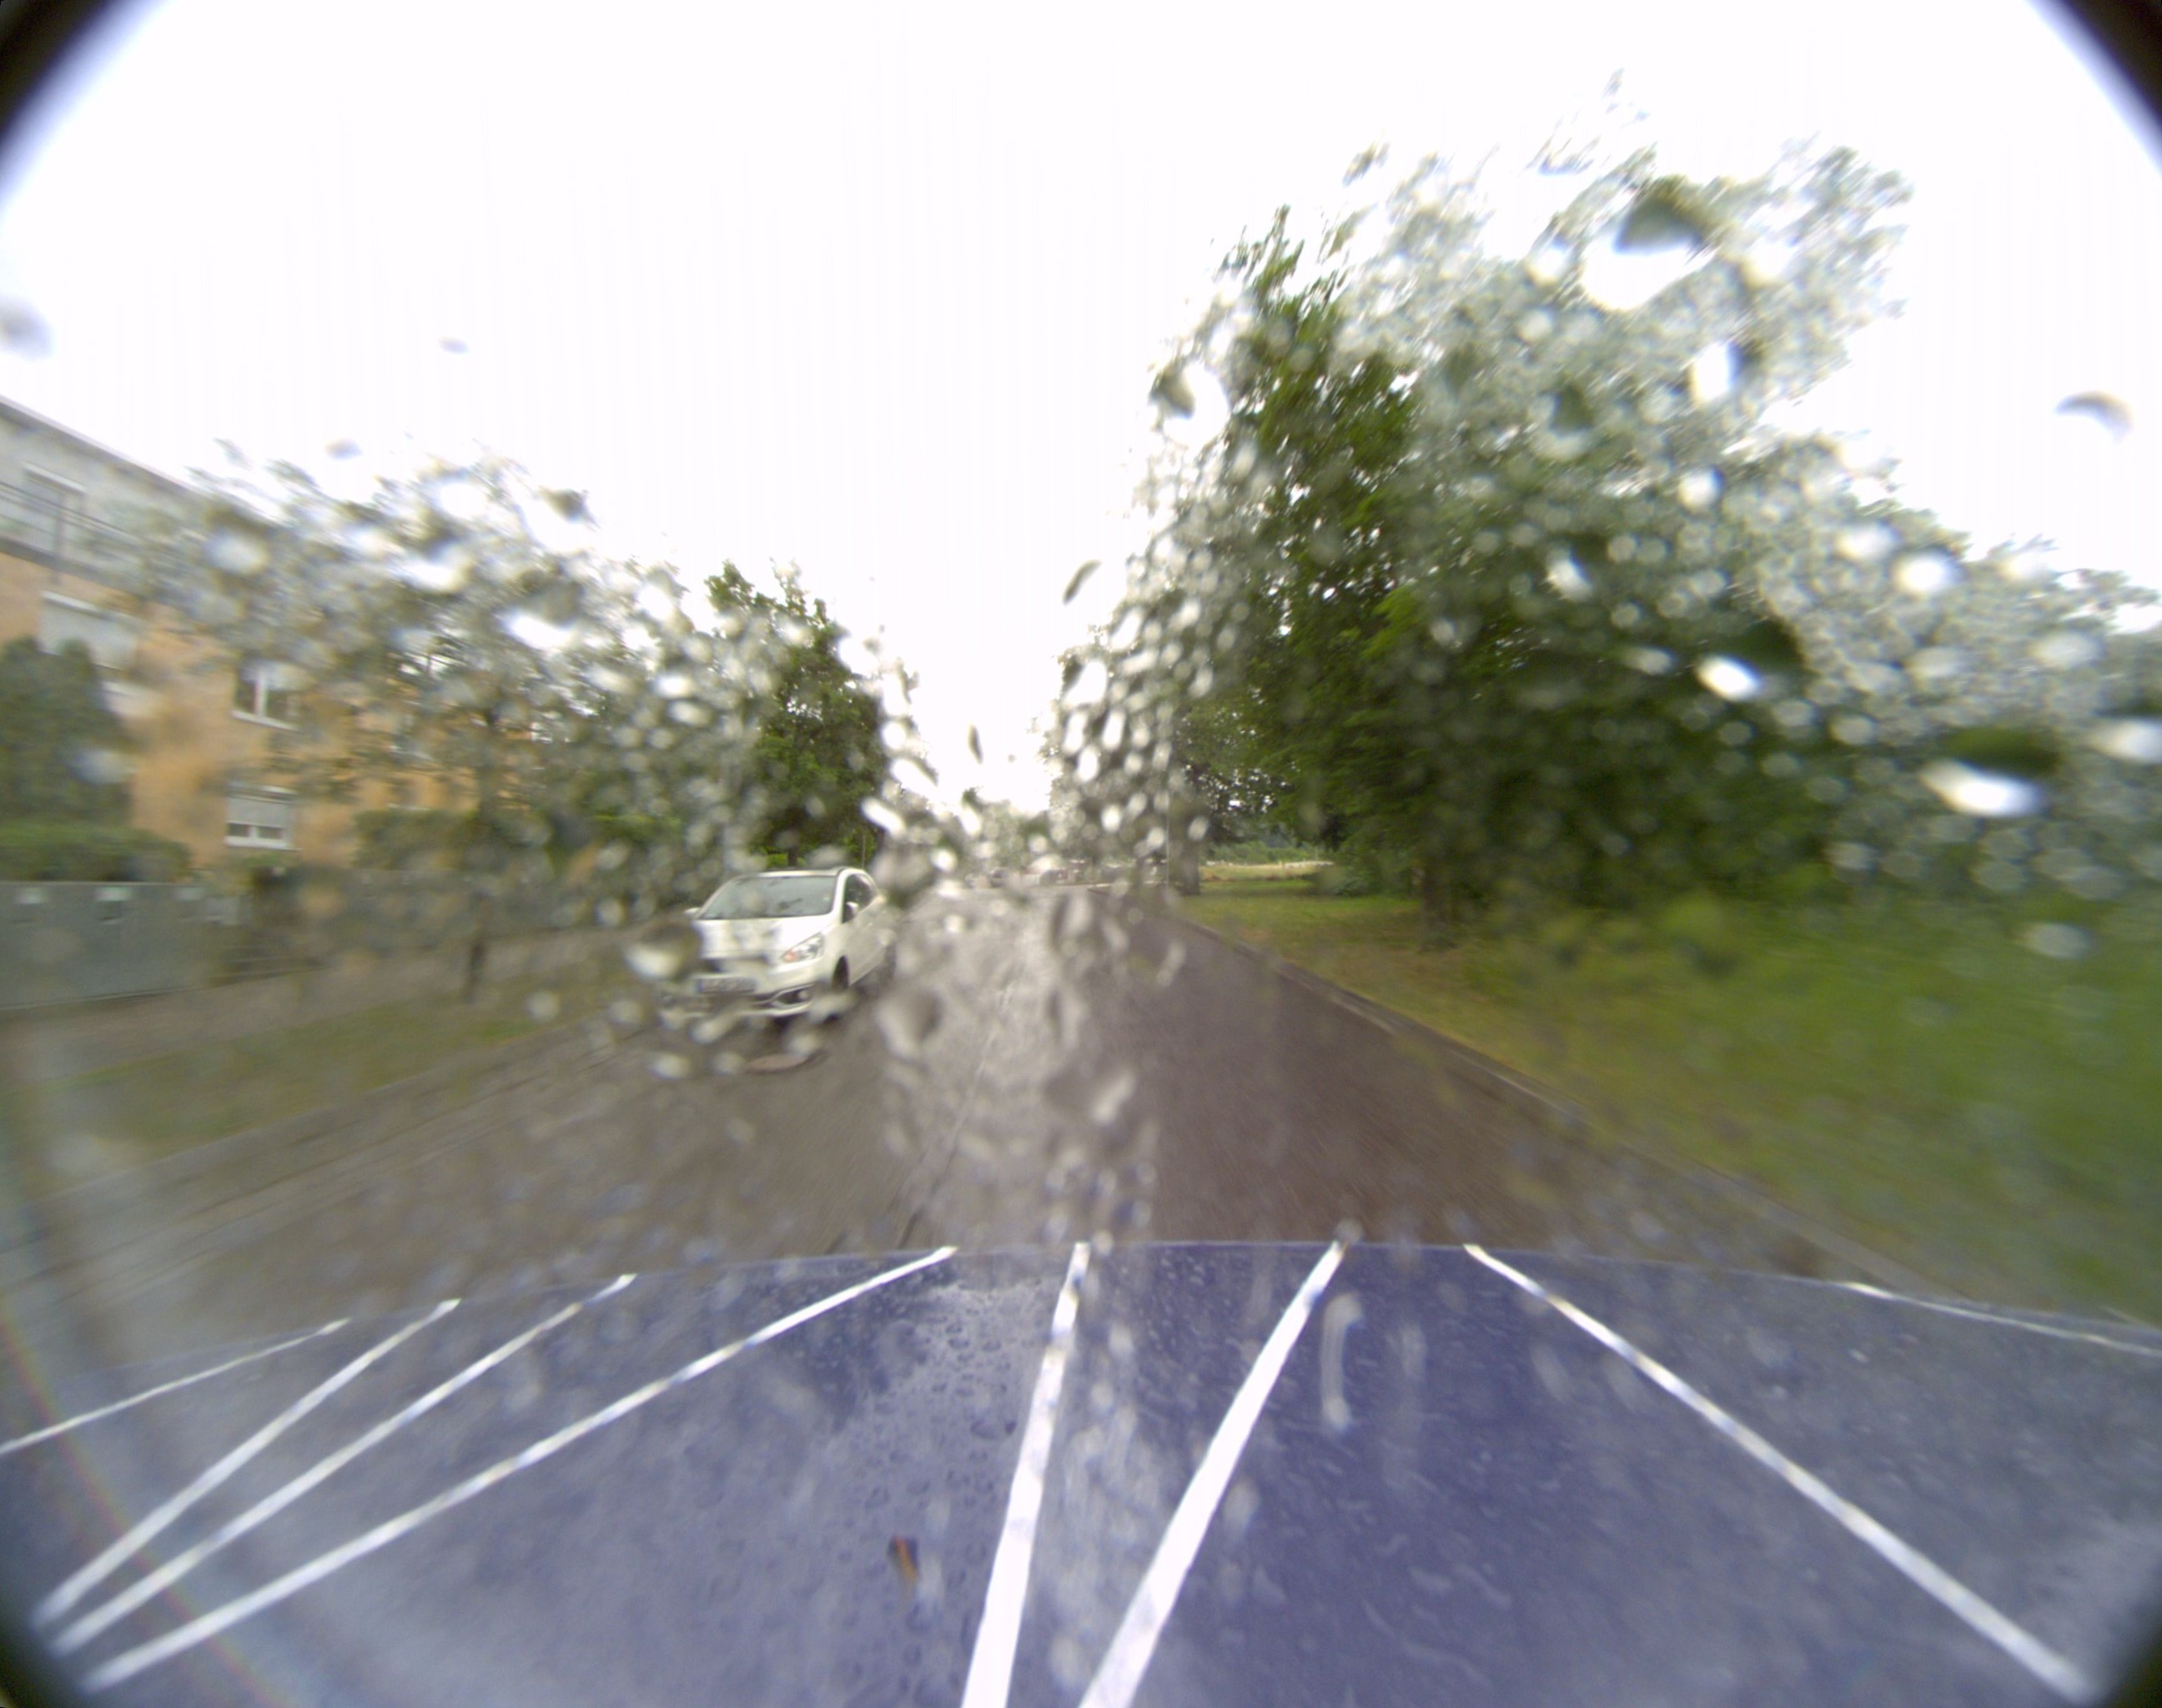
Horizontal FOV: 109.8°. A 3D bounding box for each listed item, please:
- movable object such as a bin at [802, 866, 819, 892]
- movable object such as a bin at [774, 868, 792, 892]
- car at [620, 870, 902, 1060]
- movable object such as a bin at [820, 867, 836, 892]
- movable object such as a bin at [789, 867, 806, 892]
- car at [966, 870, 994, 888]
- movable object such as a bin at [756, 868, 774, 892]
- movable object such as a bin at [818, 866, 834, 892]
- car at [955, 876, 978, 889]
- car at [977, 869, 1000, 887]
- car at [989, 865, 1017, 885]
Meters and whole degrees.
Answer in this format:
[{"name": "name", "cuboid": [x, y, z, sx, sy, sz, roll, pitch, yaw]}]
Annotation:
[{"name": "movable object such as a bin", "cuboid": [-11.625, 1.080, 32.654, 0.598, 1.066, 0.696, -1, -2, -11]}, {"name": "movable object such as a bin", "cuboid": [-13.016, 1.125, 33.190, 0.605, 1.048, 0.696, -1, -2, -11]}, {"name": "car", "cuboid": [-3.190, 0.993, 8.410, 1.610, 1.494, 3.725, -2, 0, -2]}, {"name": "movable object such as a bin", "cuboid": [-11.141, 1.115, 33.472, 0.602, 1.068, 0.696, -1, -2, -11]}, {"name": "movable object such as a bin", "cuboid": [-12.392, 1.112, 33.238, 0.579, 1.060, 0.696, -1, -2, -11]}, {"name": "car", "cuboid": [-9.506, 2.336, 71.059, 1.853, 1.542, 3.986, -1, -3, -19]}, {"name": "movable object such as a bin", "cuboid": [-13.741, 1.129, 33.059, 0.605, 1.048, 0.696, -1, -2, -11]}, {"name": "movable object such as a bin", "cuboid": [-10.990, 1.080, 32.722, 0.544, 1.067, 0.667, -1, -2, -10]}, {"name": "car", "cuboid": [-11.888, 2.943, 78.999, 1.735, 1.273, 3.324, -1, -3, -20]}, {"name": "car", "cuboid": [-7.931, 2.034, 65.052, 1.554, 1.427, 3.010, -2, -3, -14]}, {"name": "car", "cuboid": [-6.172, 1.700, 59.587, 1.680, 1.470, 3.551, -2, -2, -13]}]
